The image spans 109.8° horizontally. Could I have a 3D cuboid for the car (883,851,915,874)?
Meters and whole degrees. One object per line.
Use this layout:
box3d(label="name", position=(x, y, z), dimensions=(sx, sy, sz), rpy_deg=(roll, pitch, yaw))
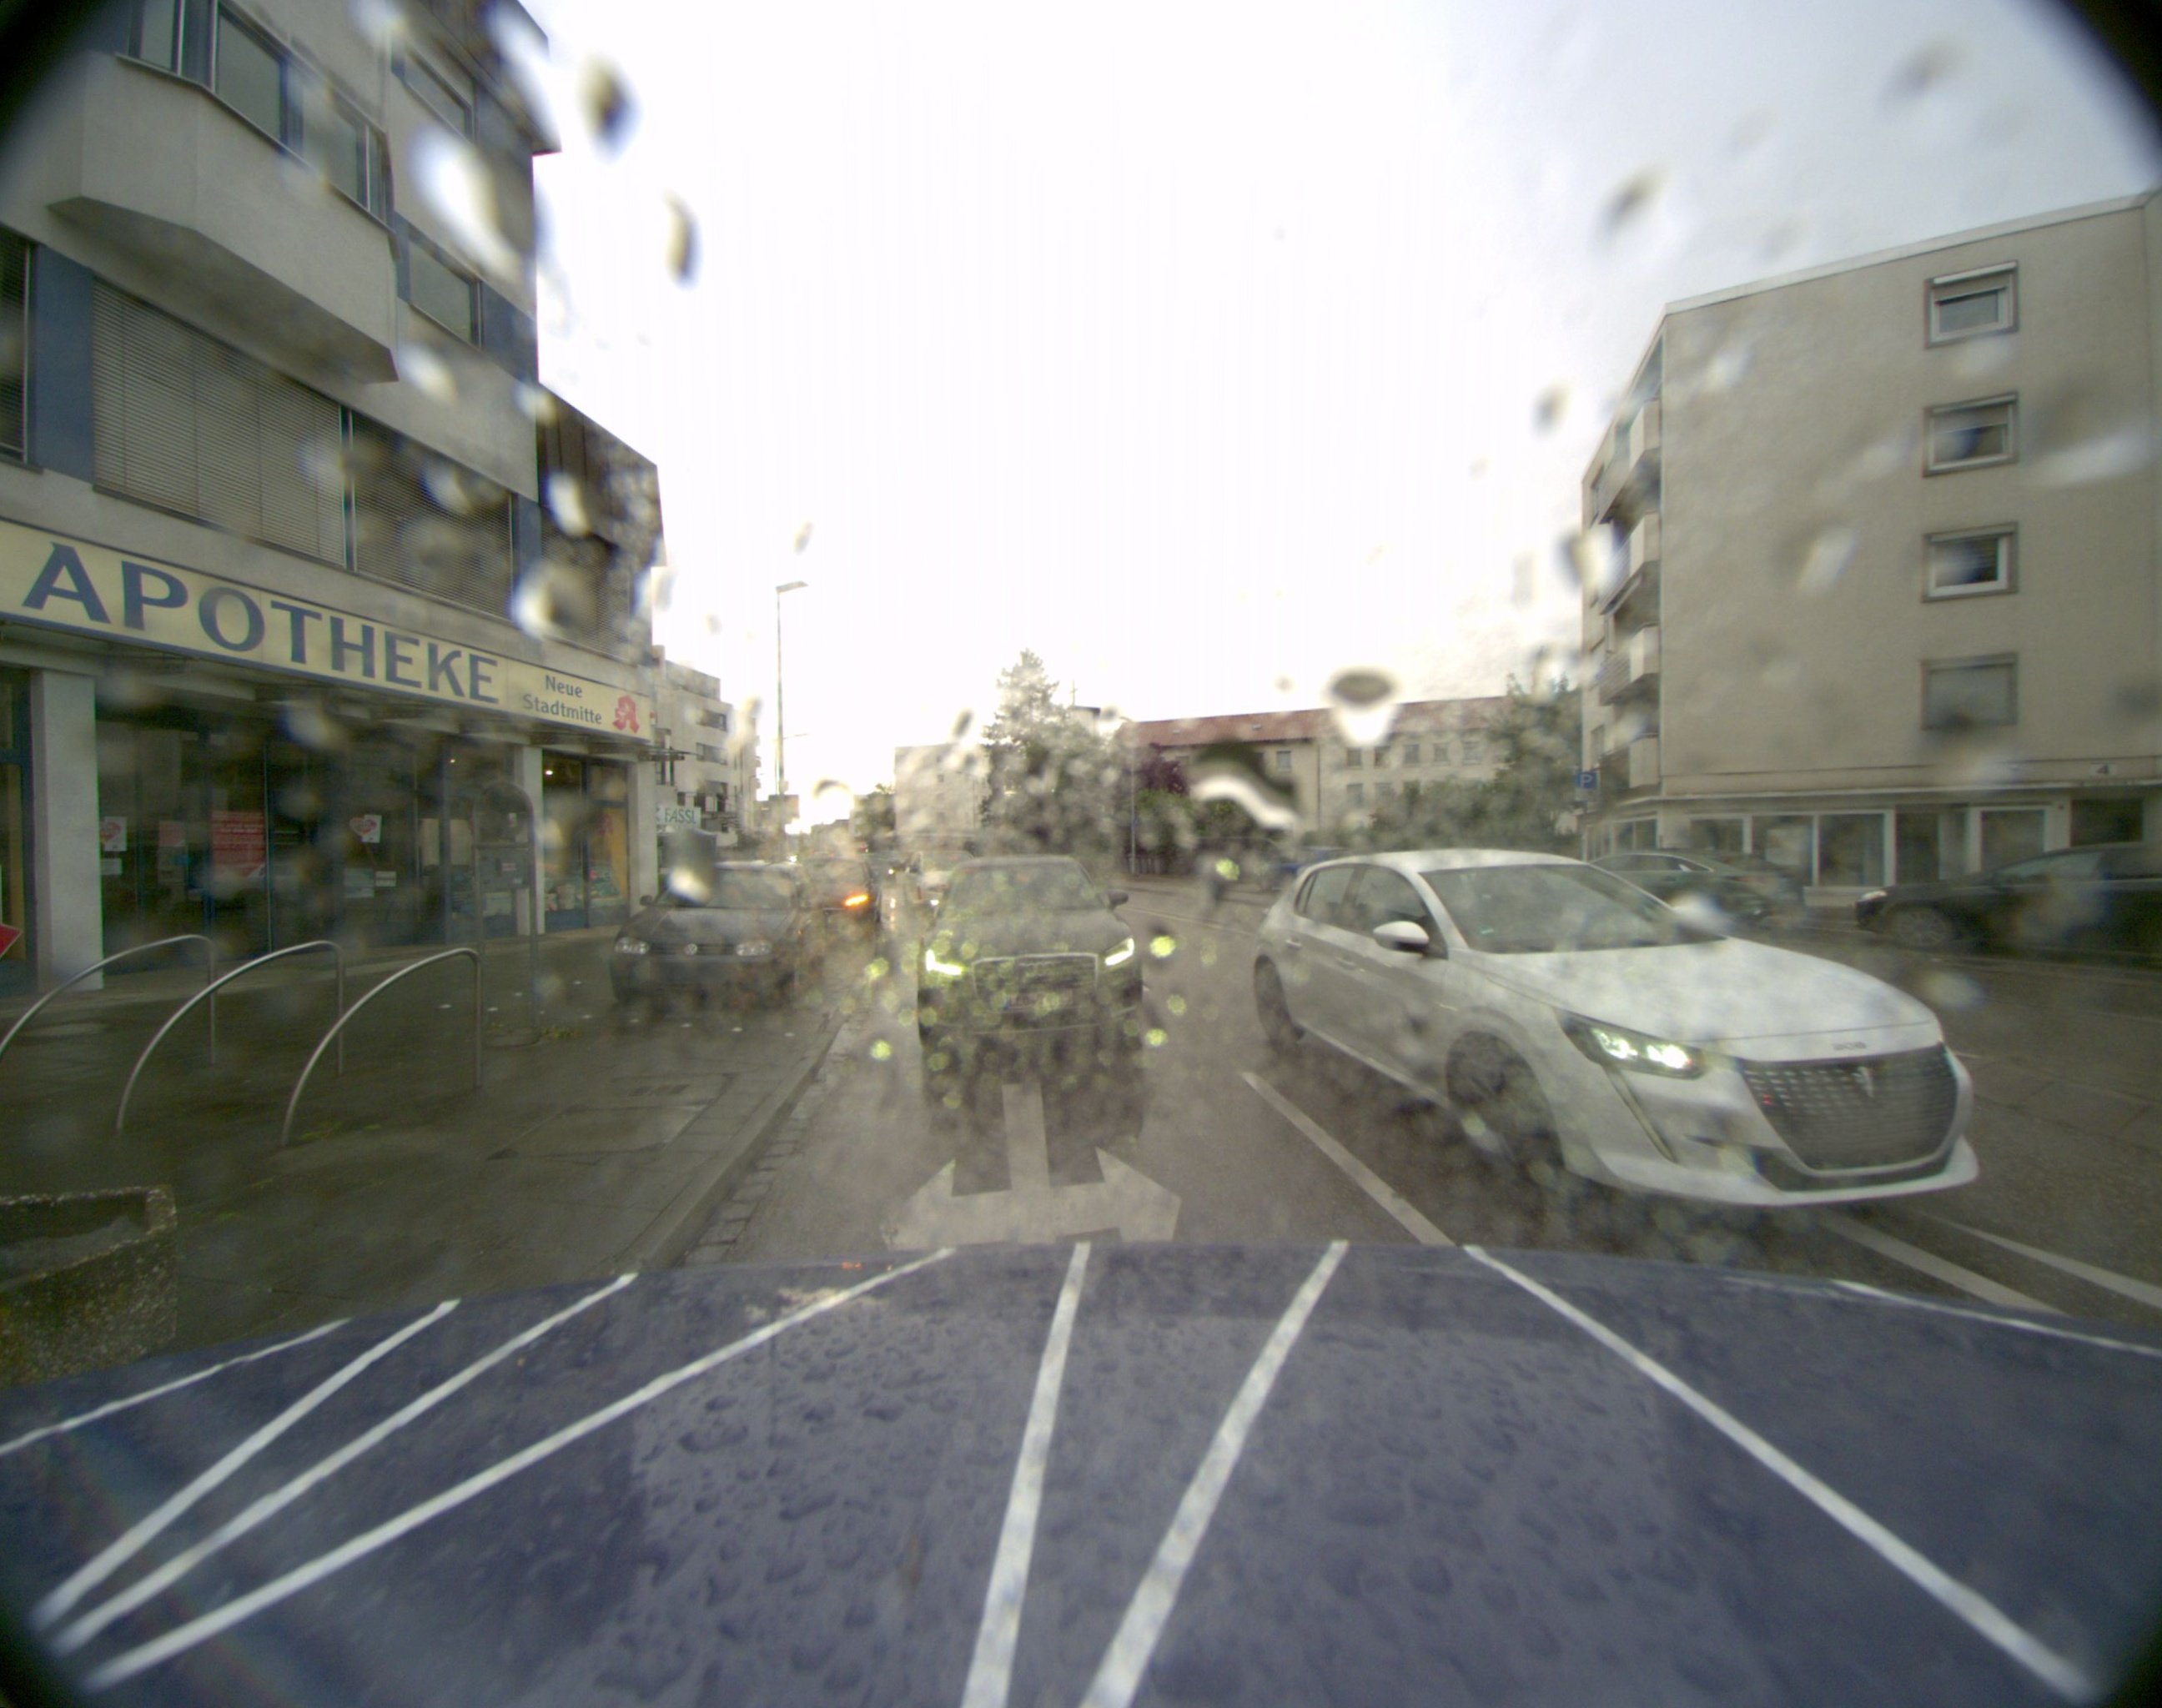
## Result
box3d(label="car", position=(-12.718, 0.540, 52.964), dimensions=(1.753, 1.446, 3.806), rpy_deg=(-1, 2, -19))

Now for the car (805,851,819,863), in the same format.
box3d(label="car", position=(-37.445, 0.367, 105.721), dimensions=(1.746, 1.630, 3.993), rpy_deg=(-1, 1, -18))

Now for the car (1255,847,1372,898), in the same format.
box3d(label="car", position=(7.449, 0.524, 24.772), dimensions=(1.636, 1.497, 3.873), rpy_deg=(-1, 1, -20))

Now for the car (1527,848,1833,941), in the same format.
box3d(label="car", position=(11.147, 0.638, 14.570), dimensions=(1.839, 1.426, 4.266), rpy_deg=(-2, 2, -21))

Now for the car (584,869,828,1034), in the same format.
box3d(label="car", position=(-4.001, 0.930, 8.756), dimensions=(1.656, 1.364, 3.727), rpy_deg=(1, 0, -12))

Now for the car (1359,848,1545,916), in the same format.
box3d(label="car", position=(9.300, 0.620, 19.486), dimensions=(1.639, 1.491, 4.338), rpy_deg=(-1, 1, -21))

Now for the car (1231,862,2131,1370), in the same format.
box3d(label="car", position=(2.433, 0.834, 4.400), dimensions=(1.744, 1.401, 3.892), rpy_deg=(-4, 1, -9))

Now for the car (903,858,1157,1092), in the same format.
box3d(label="car", position=(-0.619, 0.843, 7.305), dimensions=(1.735, 1.436, 4.042), rpy_deg=(-2, 2, -8))

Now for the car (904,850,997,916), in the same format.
box3d(label="car", position=(-3.540, 0.689, 20.002), dimensions=(1.736, 1.519, 4.056), rpy_deg=(-1, 0, -19))

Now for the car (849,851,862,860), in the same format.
box3d(label="car", position=(-38.663, 0.295, 130.375), dimensions=(1.874, 1.428, 3.733), rpy_deg=(-1, 1, -20))

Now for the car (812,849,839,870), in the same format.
box3d(label="car", position=(-21.174, 0.428, 62.942), dimensions=(2.001, 1.606, 3.993), rpy_deg=(-3, 1, -19))

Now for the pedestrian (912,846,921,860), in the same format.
box3d(label="pedestrian", position=(-20.784, -0.079, 95.803), dimensions=(0.857, 1.726, 0.834), rpy_deg=(-1, 2, -29))

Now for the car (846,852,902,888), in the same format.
box3d(label="car", position=(-9.192, 0.661, 33.602), dimensions=(1.804, 1.361, 3.964), rpy_deg=(-1, 2, -24))

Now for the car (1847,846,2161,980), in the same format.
box3d(label="car", position=(12.923, 0.669, 9.603), dimensions=(1.839, 1.451, 4.180), rpy_deg=(-2, 2, -21))

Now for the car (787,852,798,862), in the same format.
box3d(label="car", position=(-49.157, 0.543, 129.353), dimensions=(1.747, 1.630, 3.992), rpy_deg=(-1, 1, -22))

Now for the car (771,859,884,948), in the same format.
box3d(label="car", position=(-4.799, 0.847, 14.858), dimensions=(1.660, 1.416, 3.995), rpy_deg=(-1, 1, -12))
